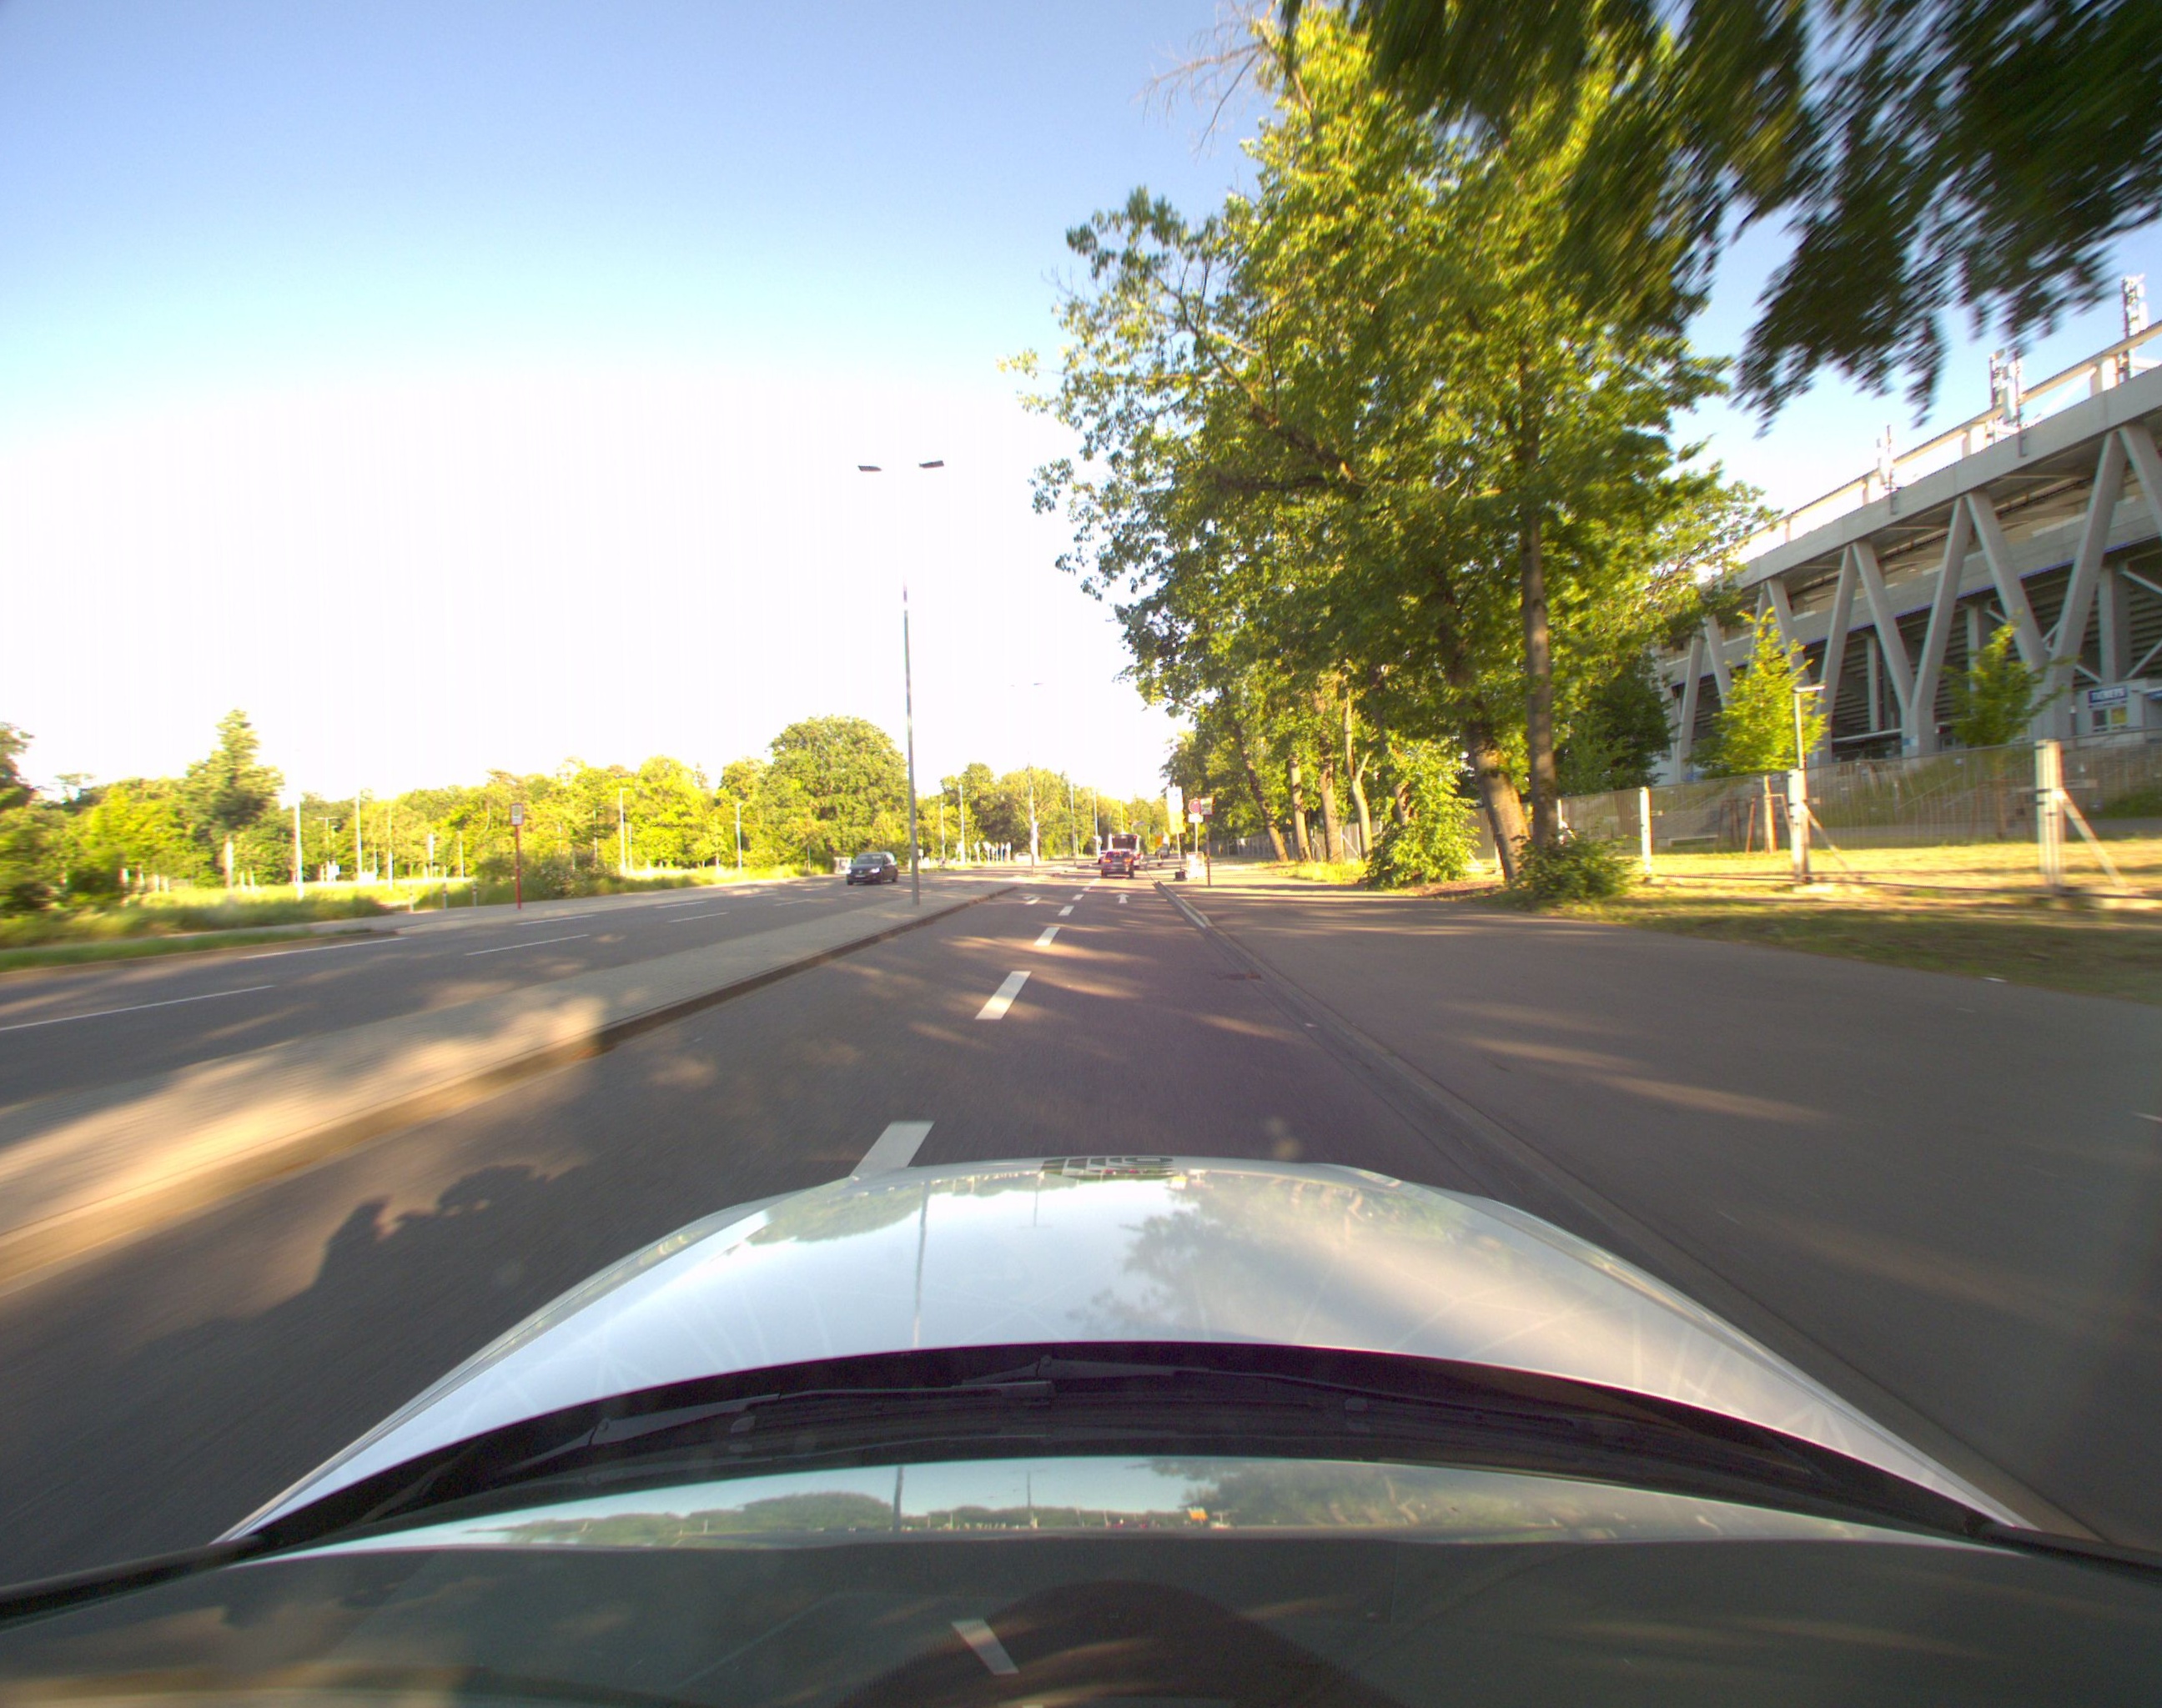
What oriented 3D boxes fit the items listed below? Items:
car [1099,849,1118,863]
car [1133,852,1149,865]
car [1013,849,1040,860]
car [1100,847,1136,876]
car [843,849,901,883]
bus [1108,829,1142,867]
[{"bbox_3d":[3.148,0.211,93.088,1.827,1.518,4.006,-2,0,5],"label":"car"},{"bbox_3d":[8.093,0.636,109.301,1.901,1.728,4.587,-1,0,6],"label":"car"},{"bbox_3d":[-8.726,0.038,130.236,4.216,1.585,2.098,-3,0,-9],"label":"car"},{"bbox_3d":[2.198,0.415,47.198,1.889,1.632,4.006,0,0,5],"label":"car"},{"bbox_3d":[-11.096,0.601,43.538,1.776,1.692,4.704,0,1,2],"label":"car"},{"bbox_3d":[3.870,-0.488,69.946,2.582,2.989,9.340,-1,0,5],"label":"bus"}]
